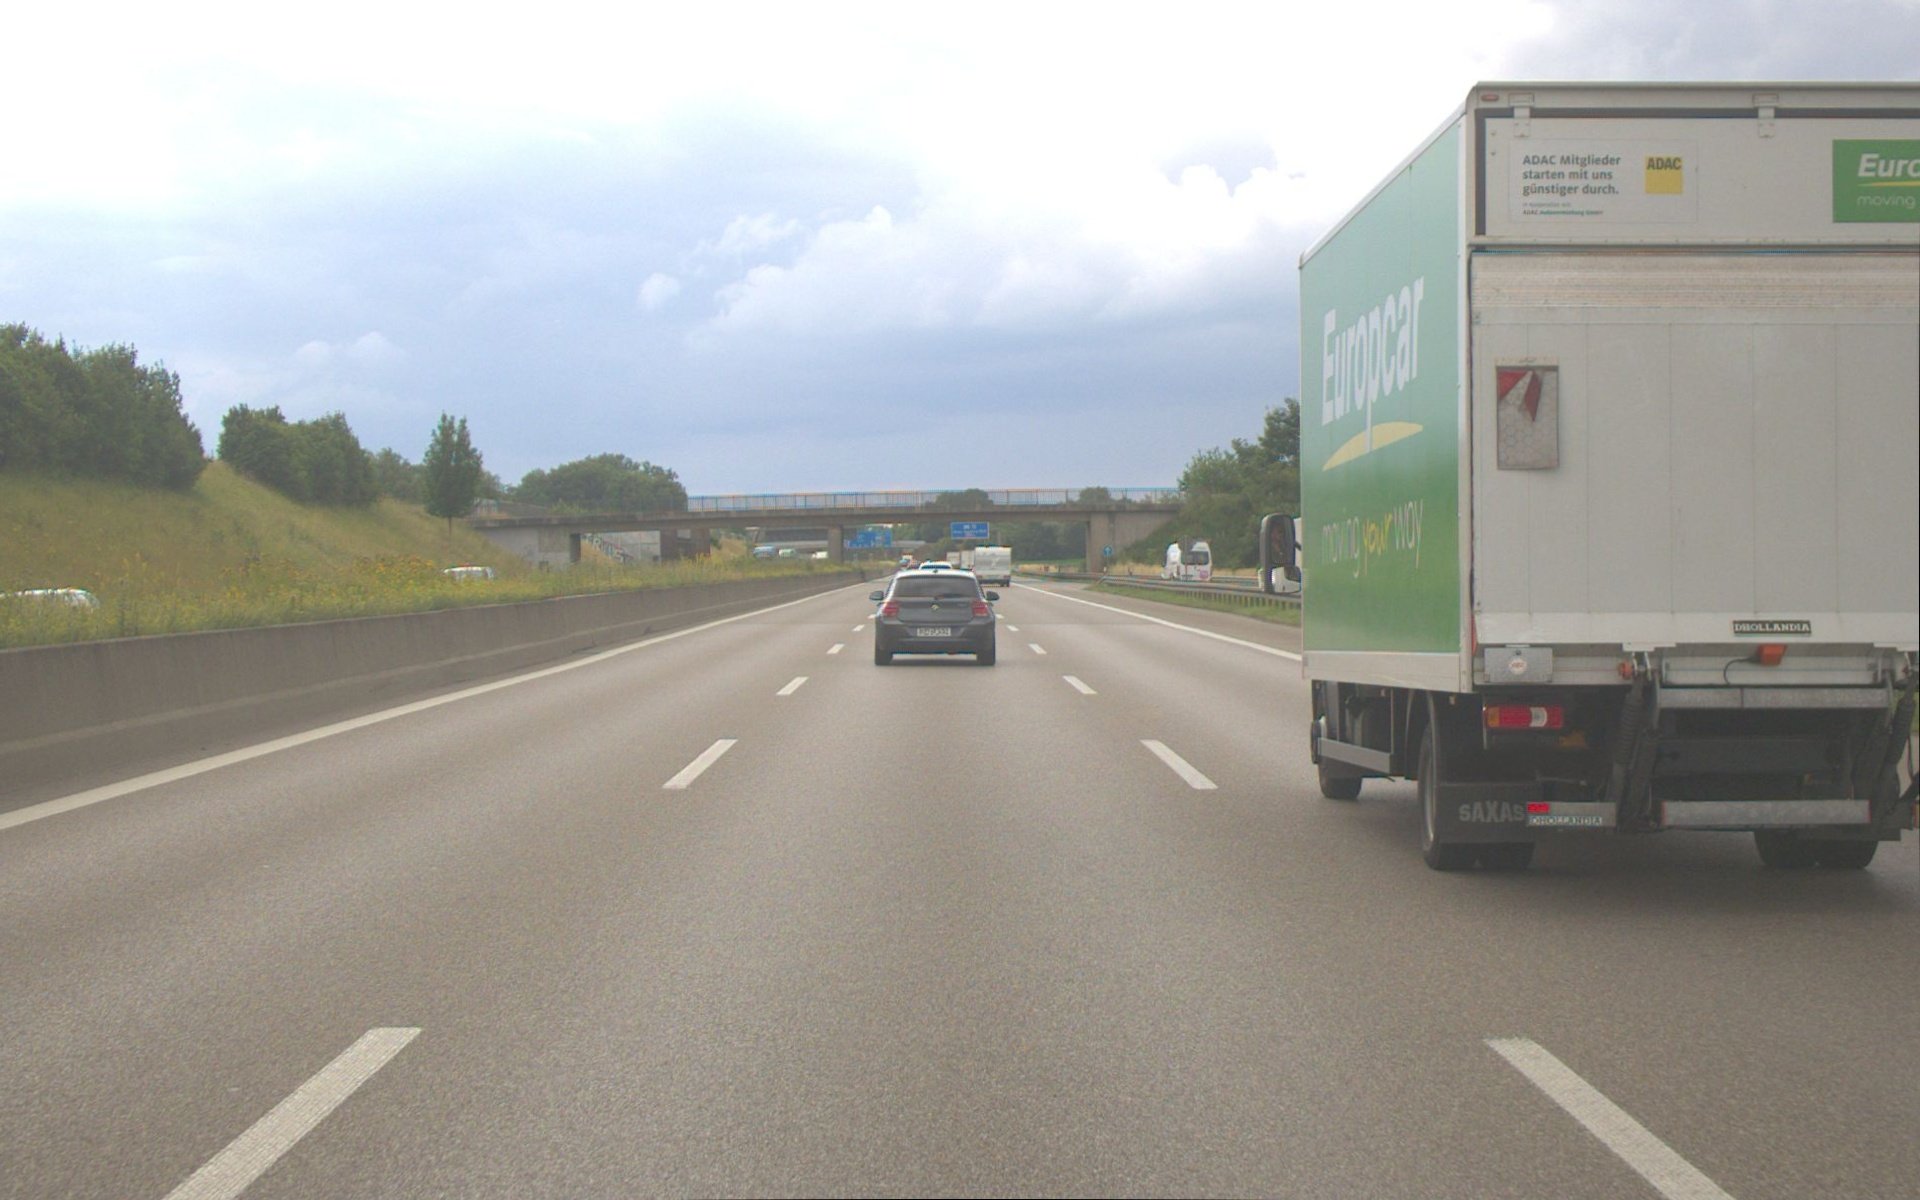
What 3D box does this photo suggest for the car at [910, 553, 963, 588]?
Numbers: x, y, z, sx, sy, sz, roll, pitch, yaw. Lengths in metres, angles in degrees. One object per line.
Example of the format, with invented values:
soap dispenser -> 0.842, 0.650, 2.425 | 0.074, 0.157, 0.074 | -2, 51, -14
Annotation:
car -> -0.922, -1.145, 132.915 | 1.993, 1.294, 4.000 | -1, 0, -1

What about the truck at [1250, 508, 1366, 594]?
truck -> 14.688, -2.053, 145.905 | 3.104, 3.459, 8.892 | 1, 0, -6

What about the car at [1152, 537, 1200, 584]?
car -> 11.911, -2.162, 189.889 | 2.221, 2.559, 6.256 | 0, 1, 0

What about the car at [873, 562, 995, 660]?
car -> -0.394, 0.130, 51.402 | 1.743, 1.384, 4.000 | 1, 1, 0

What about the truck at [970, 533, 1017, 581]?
truck -> 2.112, -2.746, 222.876 | 2.710, 2.954, 12.447 | 1, 0, -1

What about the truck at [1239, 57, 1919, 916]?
truck -> 3.318, -0.516, 18.598 | 2.770, 3.492, 9.062 | 1, 1, 0
